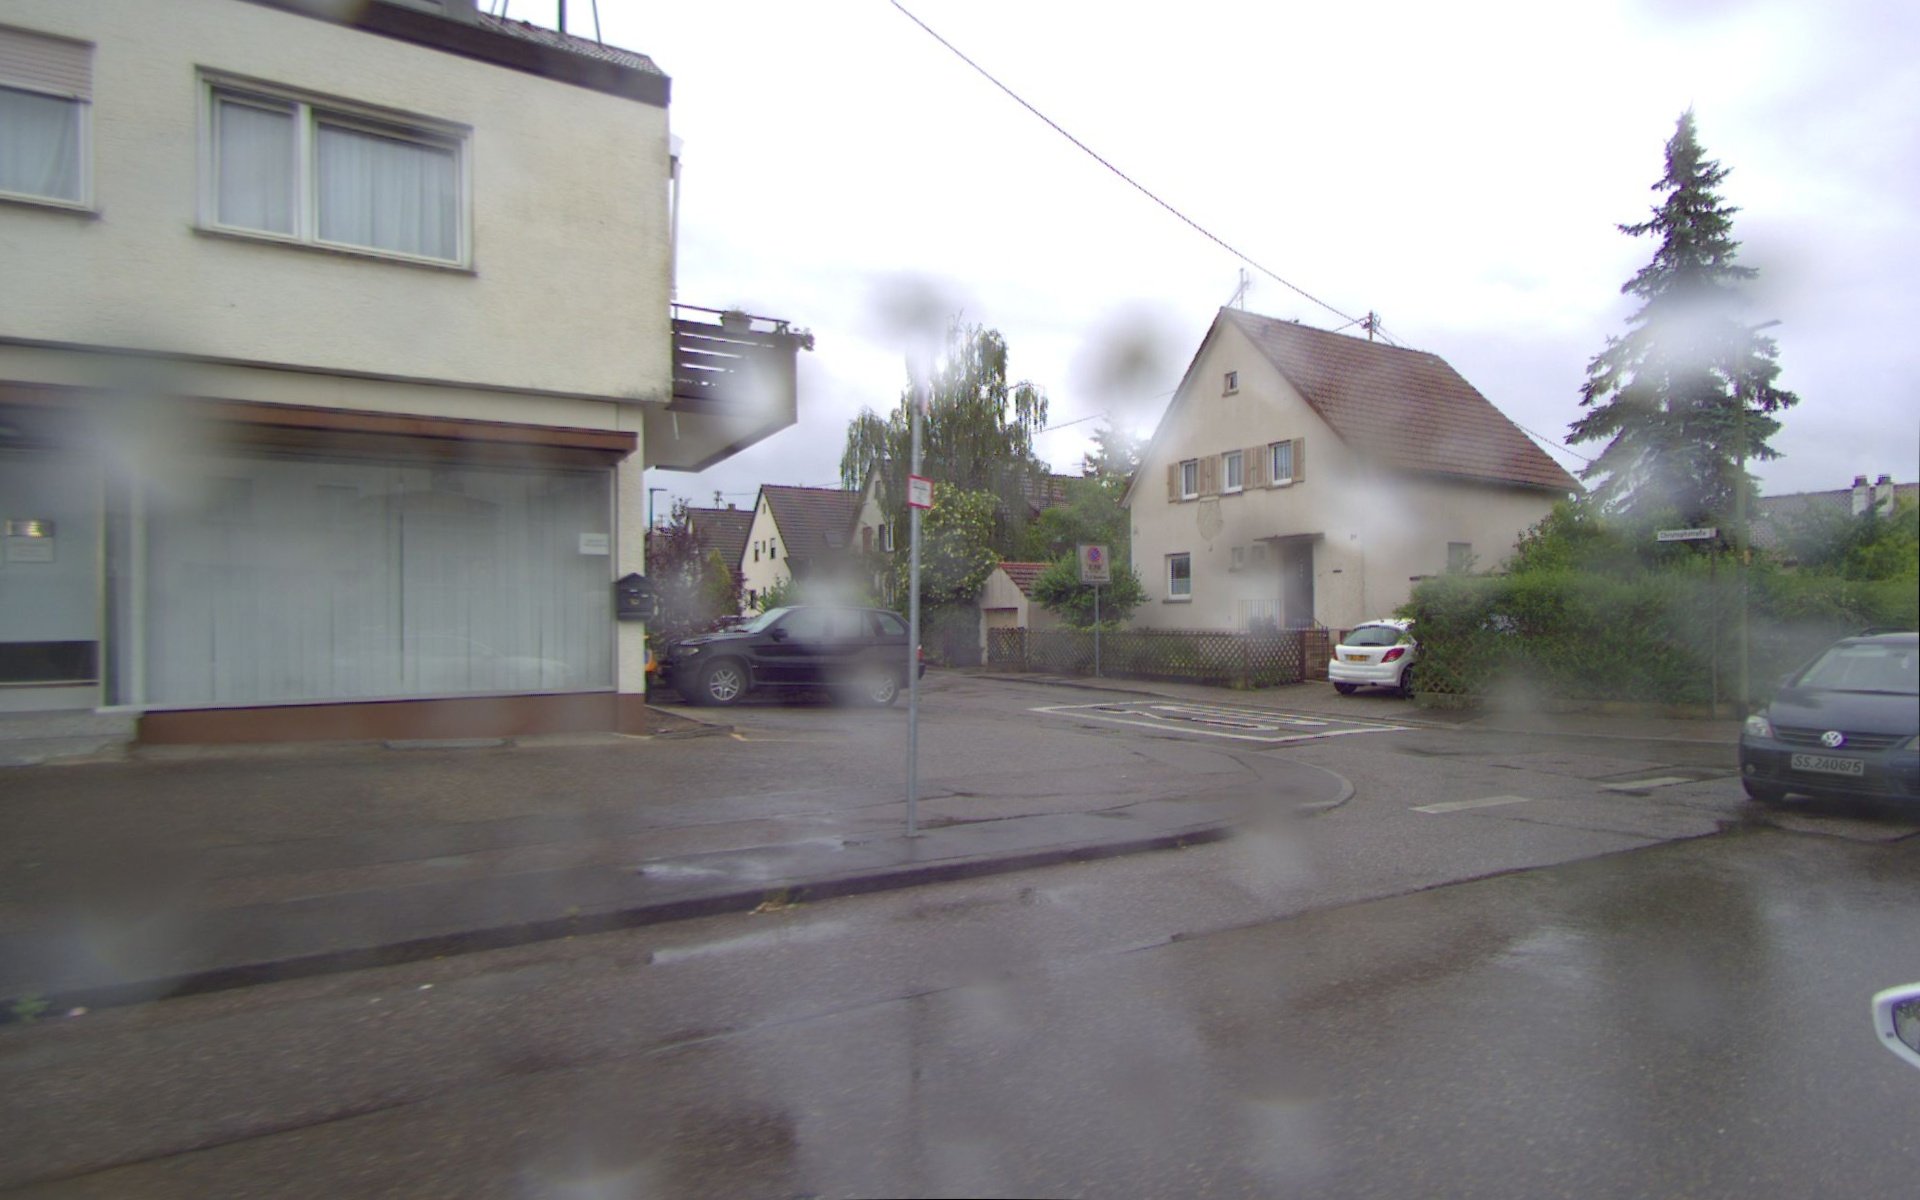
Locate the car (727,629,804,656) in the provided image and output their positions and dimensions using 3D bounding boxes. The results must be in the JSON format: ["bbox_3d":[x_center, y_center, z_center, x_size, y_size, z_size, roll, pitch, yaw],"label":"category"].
[{"bbox_3d":[-11.088,2.393,57.267,3.950,1.461,1.985,1,-1,-28],"label":"car"}]

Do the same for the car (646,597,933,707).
[{"bbox_3d":[-2.887,0.936,17.379,4.494,1.680,1.850,4,-3,-31],"label":"car"}]

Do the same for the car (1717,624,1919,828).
[{"bbox_3d":[8.758,1.006,9.126,3.954,1.548,1.667,1,-2,-31],"label":"car"}]

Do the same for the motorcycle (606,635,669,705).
[{"bbox_3d":[-5.374,1.151,16.687,0.607,1.096,1.825,1,-3,-31],"label":"motorcycle"}]

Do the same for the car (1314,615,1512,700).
[{"bbox_3d":[9.444,1.124,20.878,3.953,1.528,1.786,-1,-1,-30],"label":"car"}]
